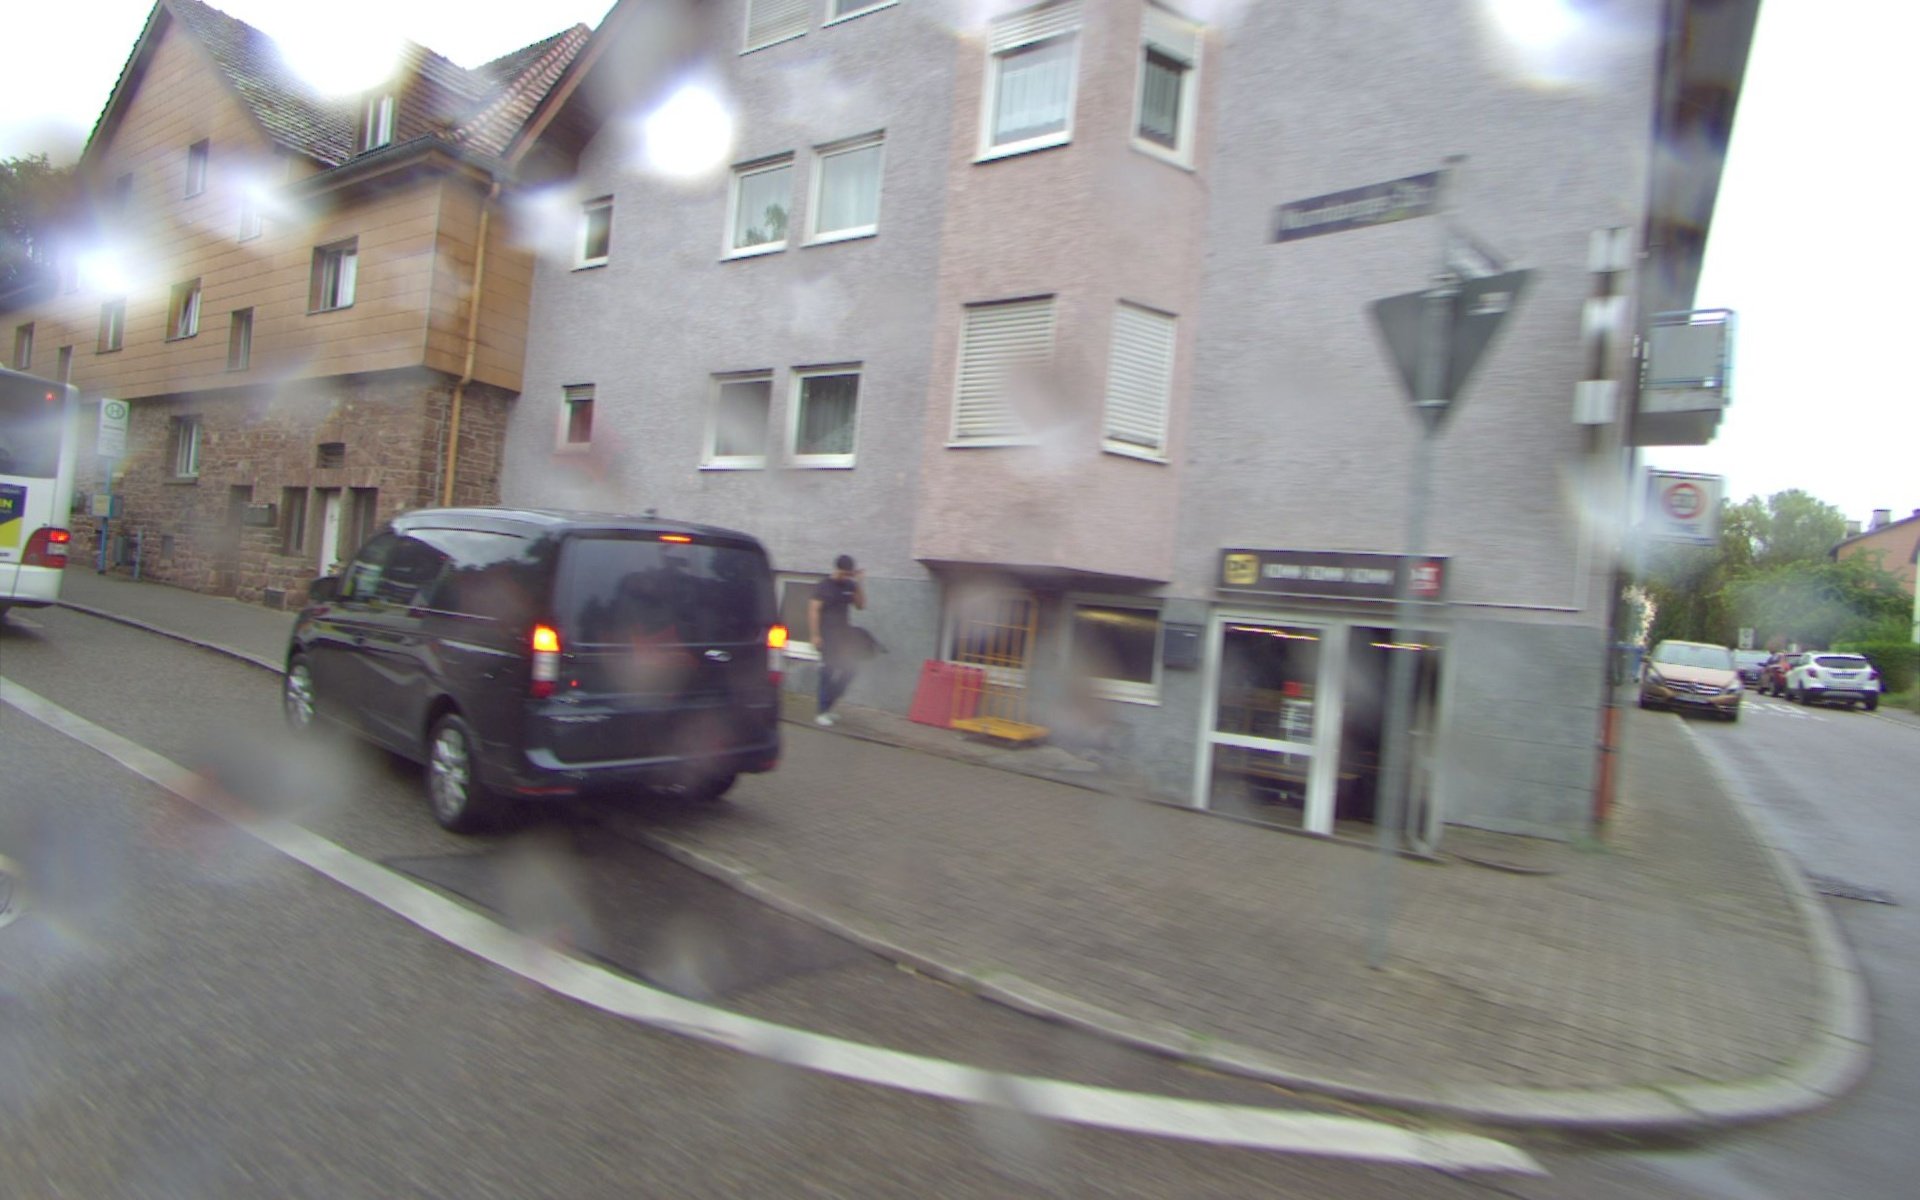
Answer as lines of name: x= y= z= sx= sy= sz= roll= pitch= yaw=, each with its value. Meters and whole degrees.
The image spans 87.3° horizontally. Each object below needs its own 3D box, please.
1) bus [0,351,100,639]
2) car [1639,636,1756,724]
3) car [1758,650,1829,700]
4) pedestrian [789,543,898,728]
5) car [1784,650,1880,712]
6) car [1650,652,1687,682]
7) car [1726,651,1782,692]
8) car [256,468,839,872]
bus: x=-13.282 y=-1.517 z=12.390 sx=8.168 sy=2.883 sz=2.620 roll=7 pitch=1 yaw=40
car: x=16.342 y=1.707 z=22.453 sx=1.737 sy=1.584 sz=3.611 roll=8 pitch=3 yaw=34
car: x=29.221 y=2.587 z=35.344 sx=1.576 sy=1.529 sz=3.585 roll=3 pitch=0 yaw=35
pedestrian: x=-1.189 y=0.359 z=10.230 sx=0.687 sy=1.777 sz=0.662 roll=5 pitch=2 yaw=-39
car: x=26.685 y=2.434 z=30.907 sx=1.744 sy=1.643 sz=3.586 roll=3 pitch=0 yaw=34
car: x=39.901 y=3.740 z=56.667 sx=1.576 sy=1.529 sz=3.585 roll=3 pitch=0 yaw=35
car: x=33.018 y=2.945 z=41.902 sx=1.576 sy=1.529 sz=3.585 roll=3 pitch=0 yaw=36
car: x=-3.160 y=0.214 z=7.055 sx=4.697 sy=1.917 sz=1.921 roll=6 pitch=2 yaw=43
